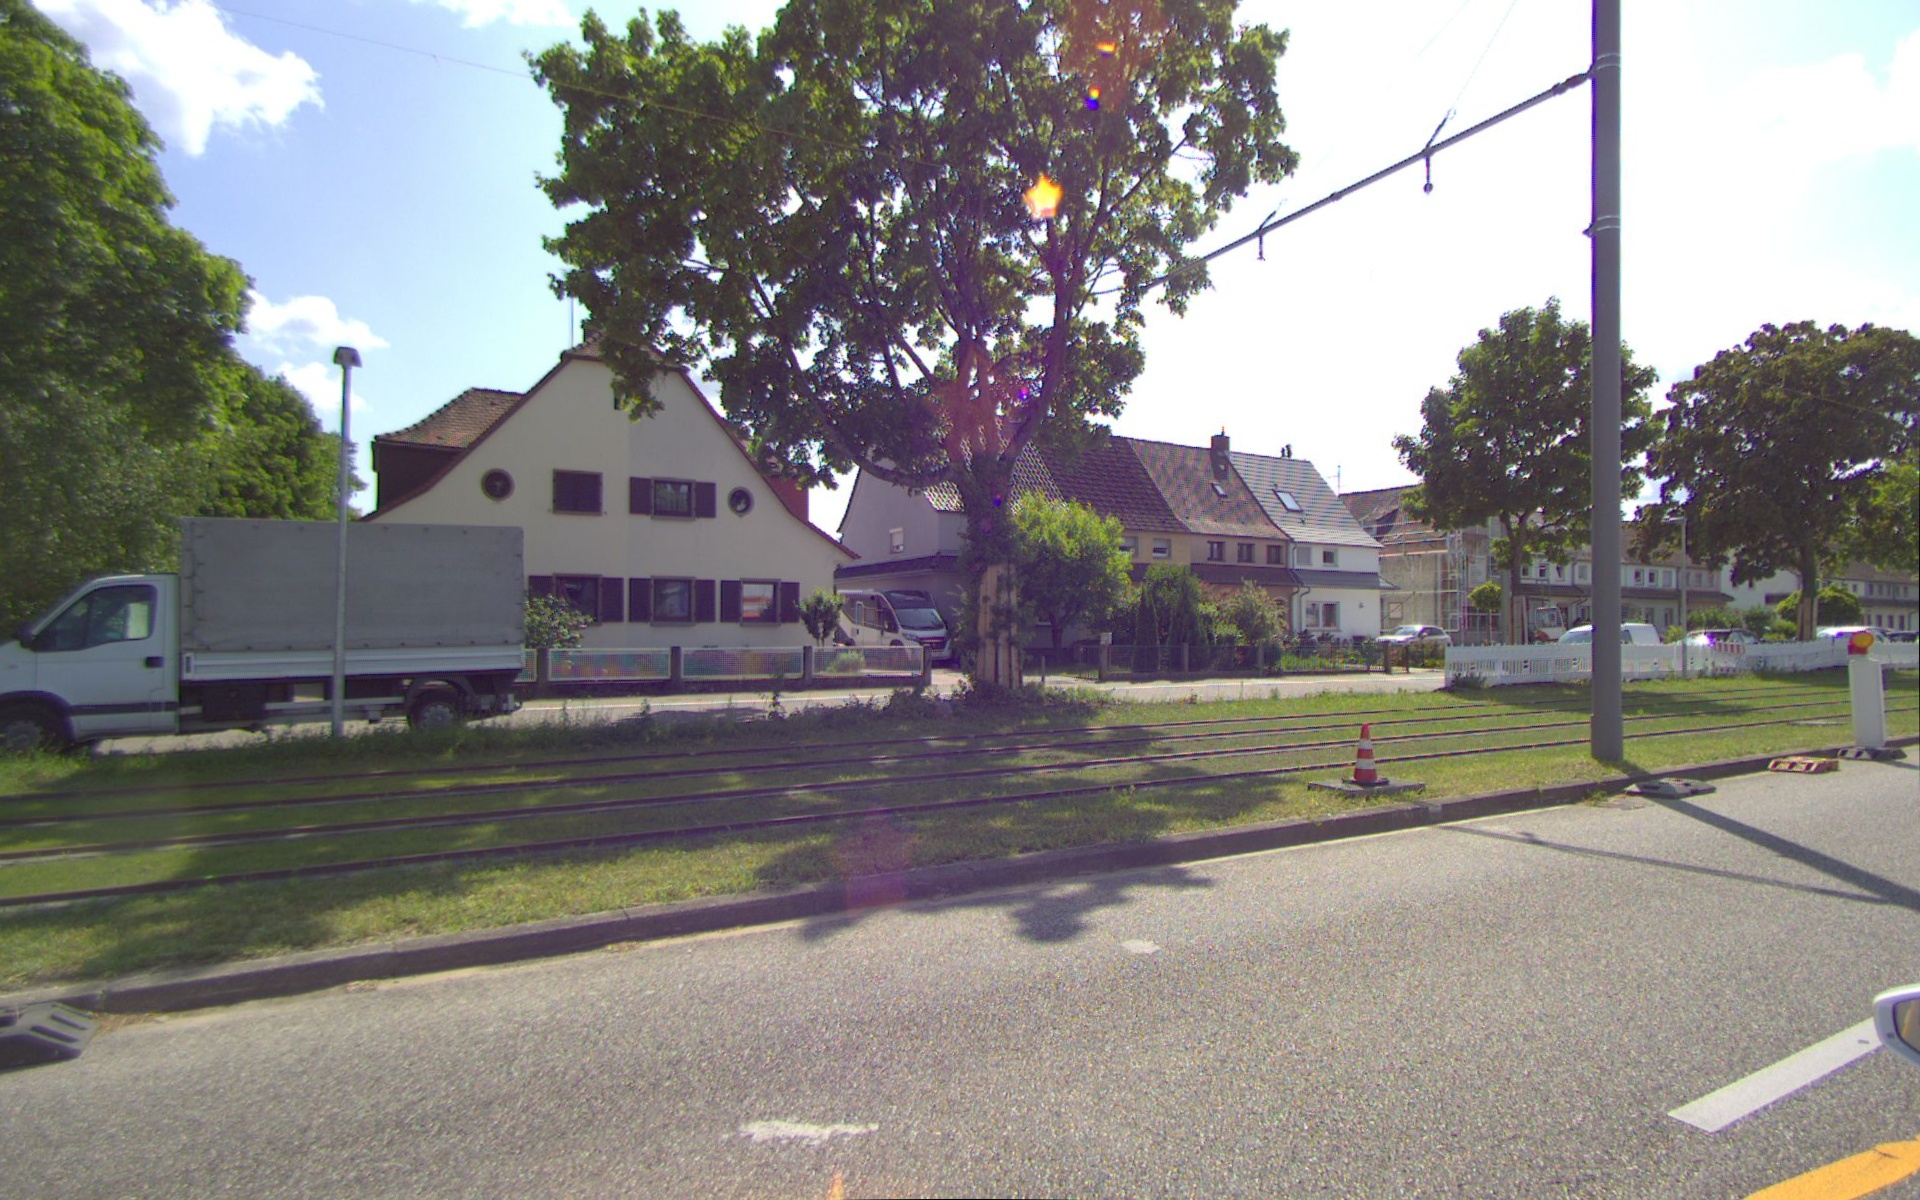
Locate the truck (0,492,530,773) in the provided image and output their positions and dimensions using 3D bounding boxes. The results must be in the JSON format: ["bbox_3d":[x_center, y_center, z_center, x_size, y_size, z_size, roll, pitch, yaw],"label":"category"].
[{"bbox_3d":[-8.800,0.414,12.925,5.805,3.027,1.994,1,-2,-30],"label":"truck"}]

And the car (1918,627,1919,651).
[{"bbox_3d":[72.130,2.848,73.661,4.013,1.762,1.691,1,-2,-30],"label":"car"}]

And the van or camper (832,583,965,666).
[{"bbox_3d":[-2.354,0.908,36.642,2.224,2.745,5.963,1,-2,-33],"label":"van or camper"}]

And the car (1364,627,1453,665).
[{"bbox_3d":[19.885,1.994,44.472,3.814,1.614,1.691,1,-2,-30],"label":"car"}]

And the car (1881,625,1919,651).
[{"bbox_3d":[66.747,2.684,70.725,4.013,1.762,1.691,1,-2,-30],"label":"car"}]

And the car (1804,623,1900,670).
[{"bbox_3d":[34.977,1.803,39.378,3.814,1.762,1.691,1,-2,-30],"label":"car"}]

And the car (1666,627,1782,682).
[{"bbox_3d":[25.743,1.800,33.819,4.006,1.762,1.691,1,-2,-30],"label":"car"}]

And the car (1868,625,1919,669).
[{"bbox_3d":[40.385,1.962,42.593,3.814,1.762,1.691,1,-2,-30],"label":"car"}]

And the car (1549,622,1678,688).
[{"bbox_3d":[19.498,1.605,29.952,3.814,1.841,1.691,1,-2,-30],"label":"car"}]
